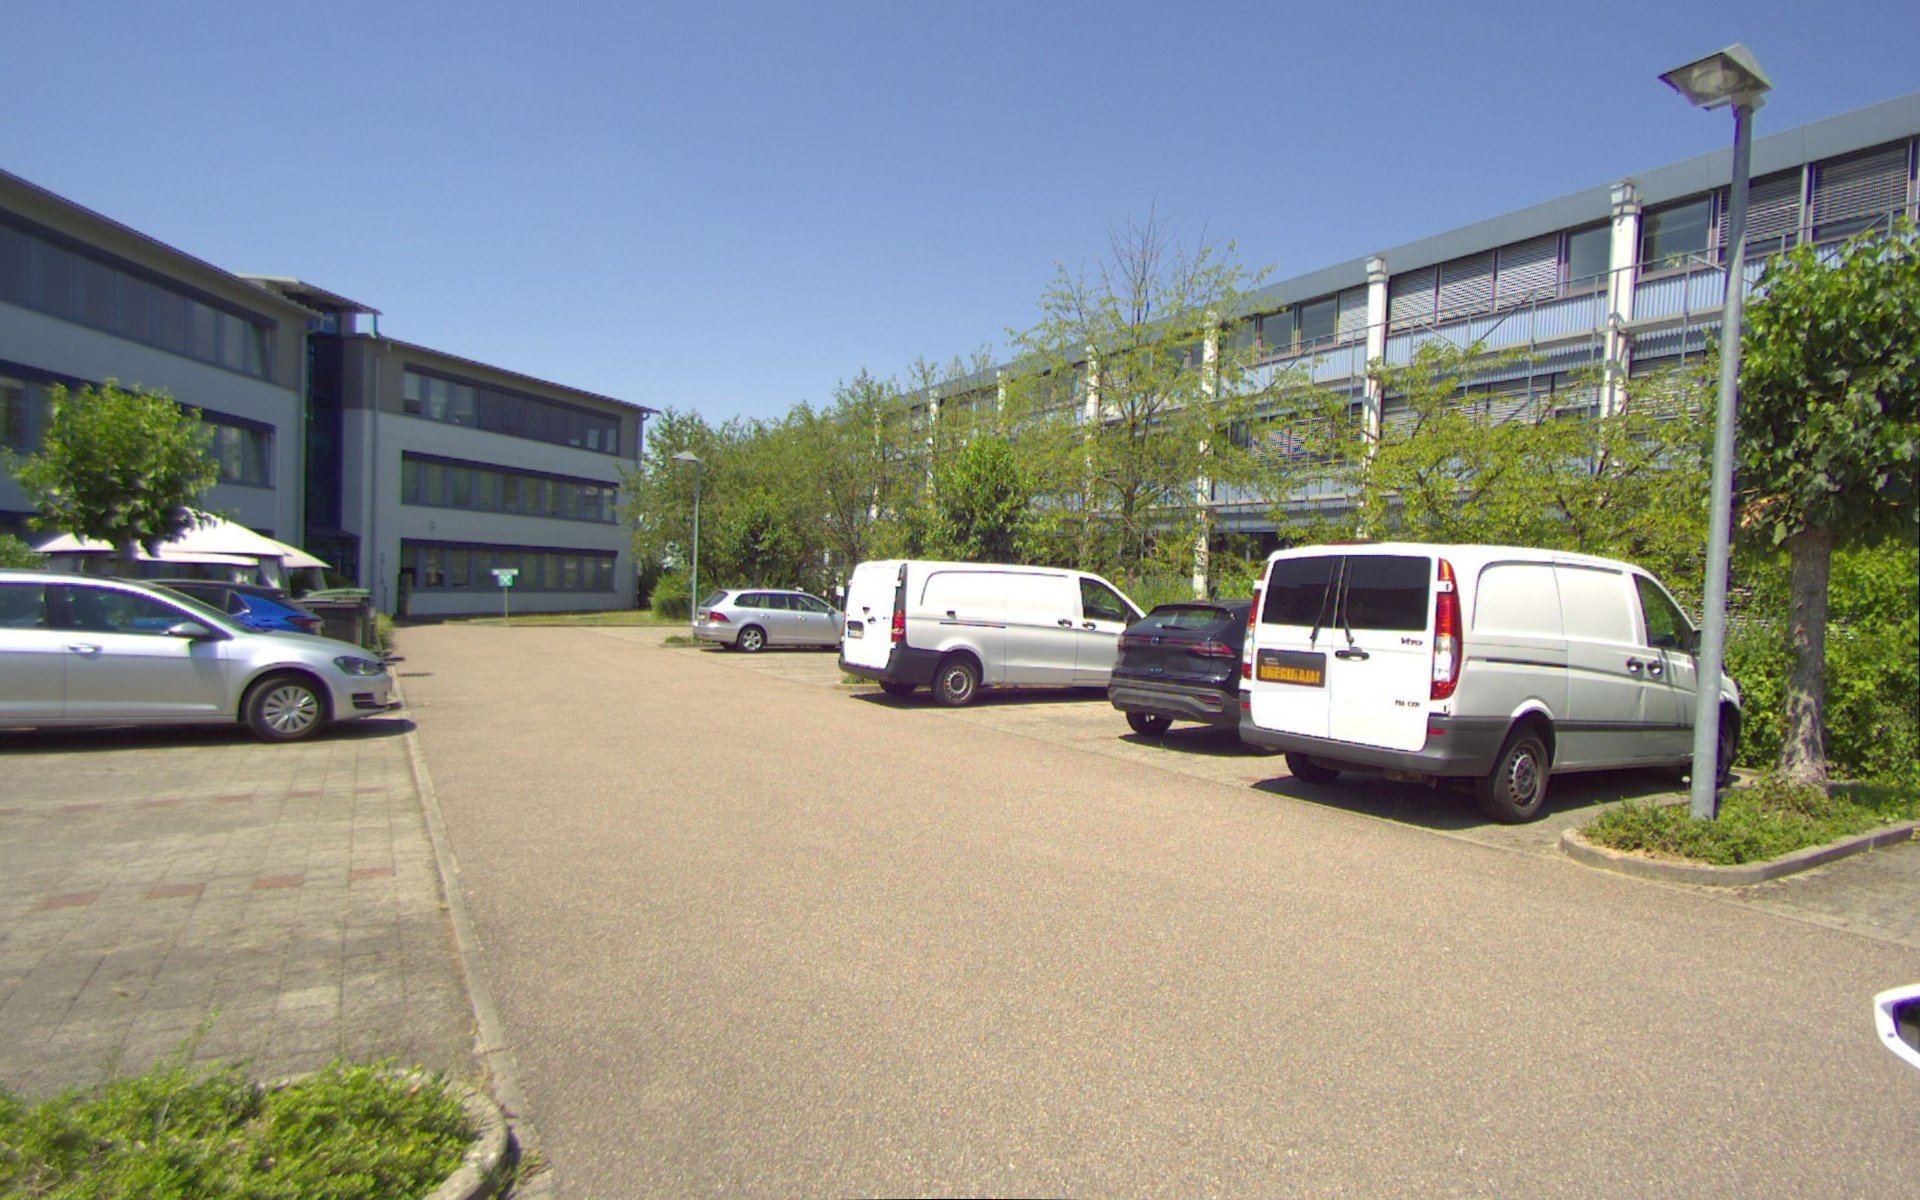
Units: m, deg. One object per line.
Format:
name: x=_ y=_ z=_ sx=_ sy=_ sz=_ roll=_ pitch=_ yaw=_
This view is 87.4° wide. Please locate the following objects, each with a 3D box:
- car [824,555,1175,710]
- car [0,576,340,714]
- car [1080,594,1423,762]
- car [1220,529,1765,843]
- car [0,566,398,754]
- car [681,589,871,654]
car: x=0.626 y=0.427 z=14.372 sx=4.747 sy=1.916 sz=1.872 roll=1 pitch=1 yaw=-30
car: x=-9.904 y=0.481 z=12.164 sx=3.951 sy=1.481 sz=1.985 roll=1 pitch=1 yaw=-29
car: x=3.306 y=0.723 z=11.014 sx=3.969 sy=1.496 sz=1.739 roll=1 pitch=1 yaw=-41
car: x=4.531 y=0.559 z=8.293 sx=4.756 sy=1.930 sz=1.902 roll=1 pitch=0 yaw=-33
car: x=-7.672 y=0.473 z=9.072 sx=4.434 sy=1.492 sz=1.847 roll=2 pitch=0 yaw=-32
car: x=-4.418 y=0.512 z=24.231 sx=4.119 sy=1.425 sz=1.859 roll=2 pitch=1 yaw=-29
